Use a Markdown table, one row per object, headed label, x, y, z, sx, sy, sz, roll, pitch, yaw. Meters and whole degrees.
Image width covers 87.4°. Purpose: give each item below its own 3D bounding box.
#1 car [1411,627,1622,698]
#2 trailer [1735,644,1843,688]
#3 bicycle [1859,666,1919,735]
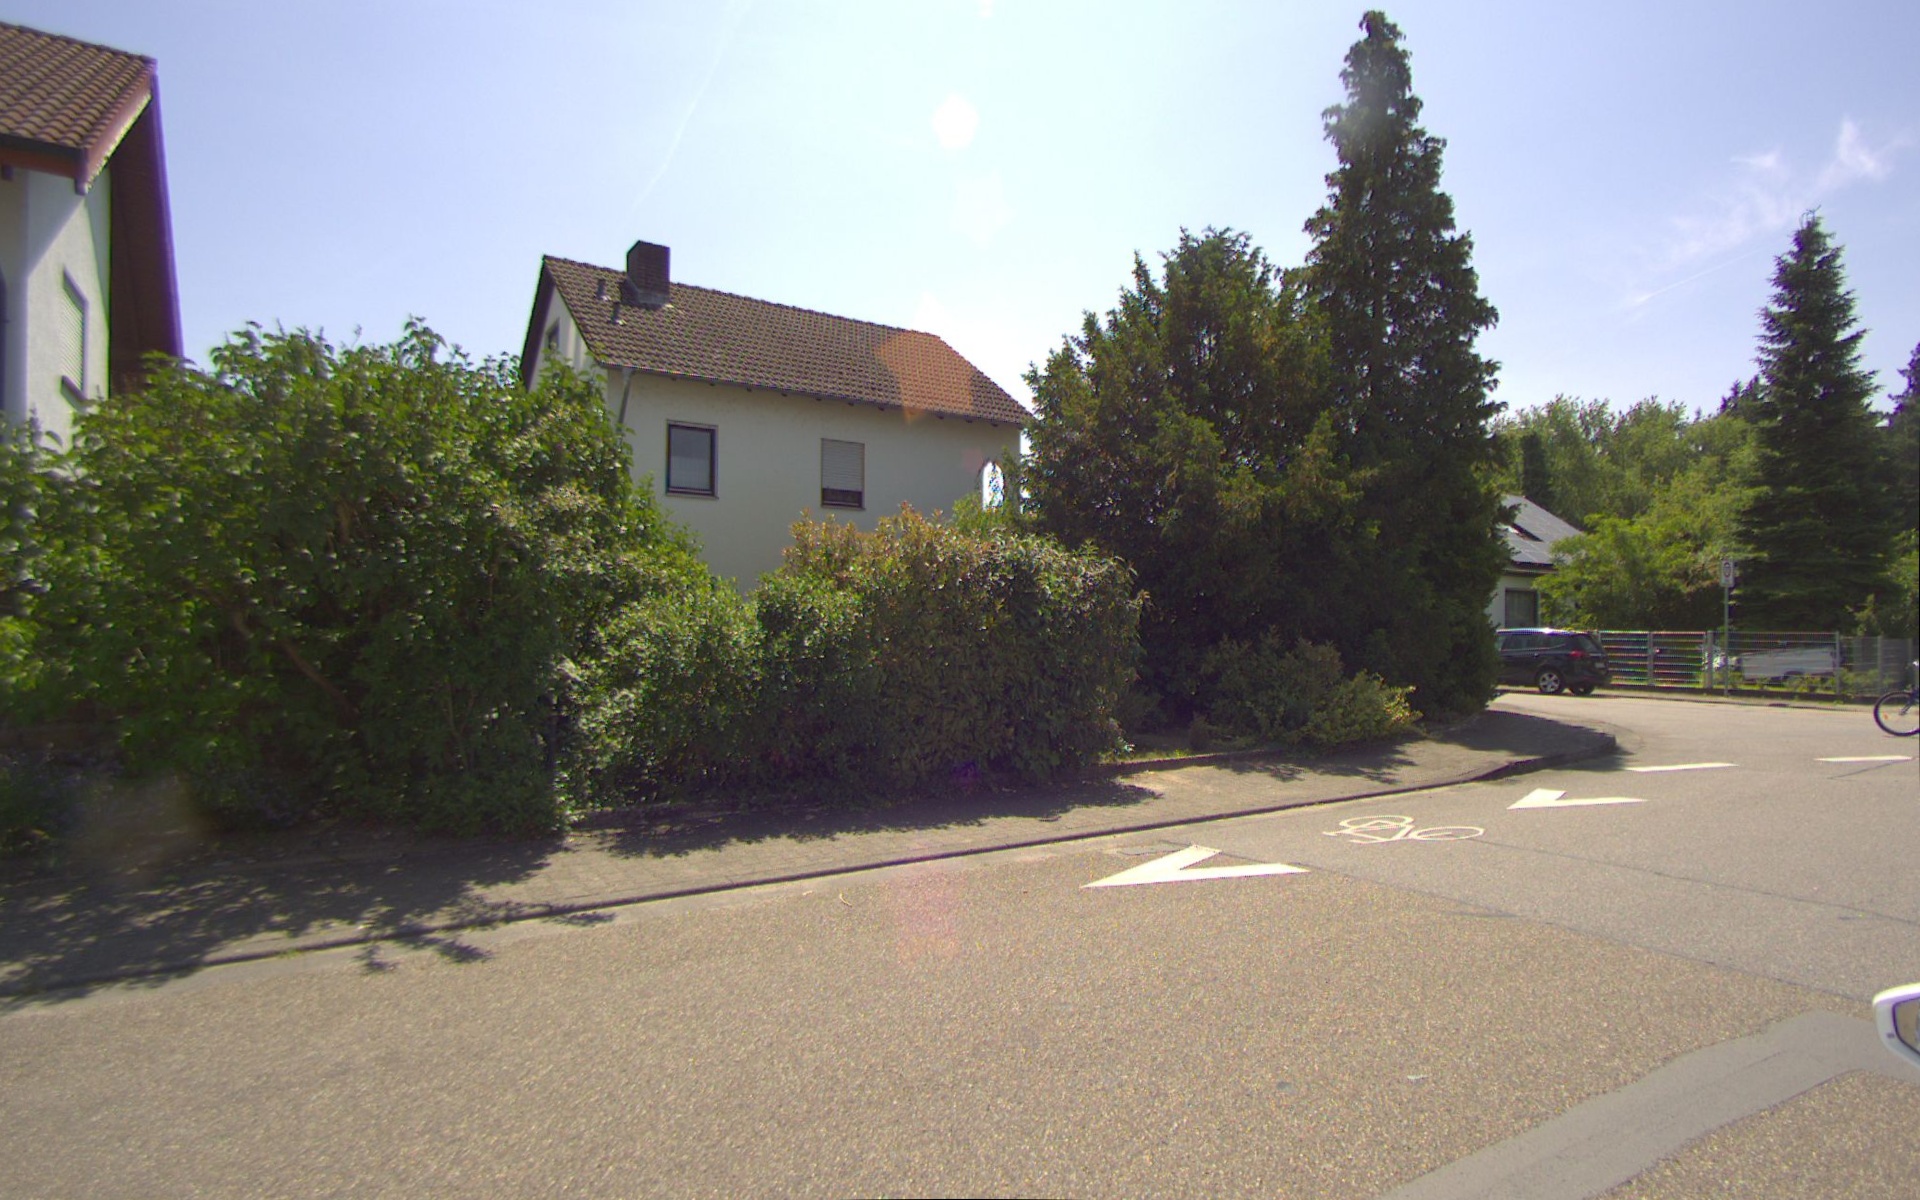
| label | x | y | z | sx | sy | sz | roll | pitch | yaw |
| --- | --- | --- | --- | --- | --- | --- | --- | --- | --- |
| car | 14.804 | 1.604 | 26.997 | 1.948 | 1.684 | 4.641 | 1 | -2 | -32 |
| trailer | 23.080 | 1.817 | 28.005 | 1.098 | 1.098 | 2.196 | 2 | -2 | -41 |
| bicycle | 14.331 | 1.477 | 14.601 | 1.816 | 0.976 | 0.442 | 0 | -1 | 32 |
